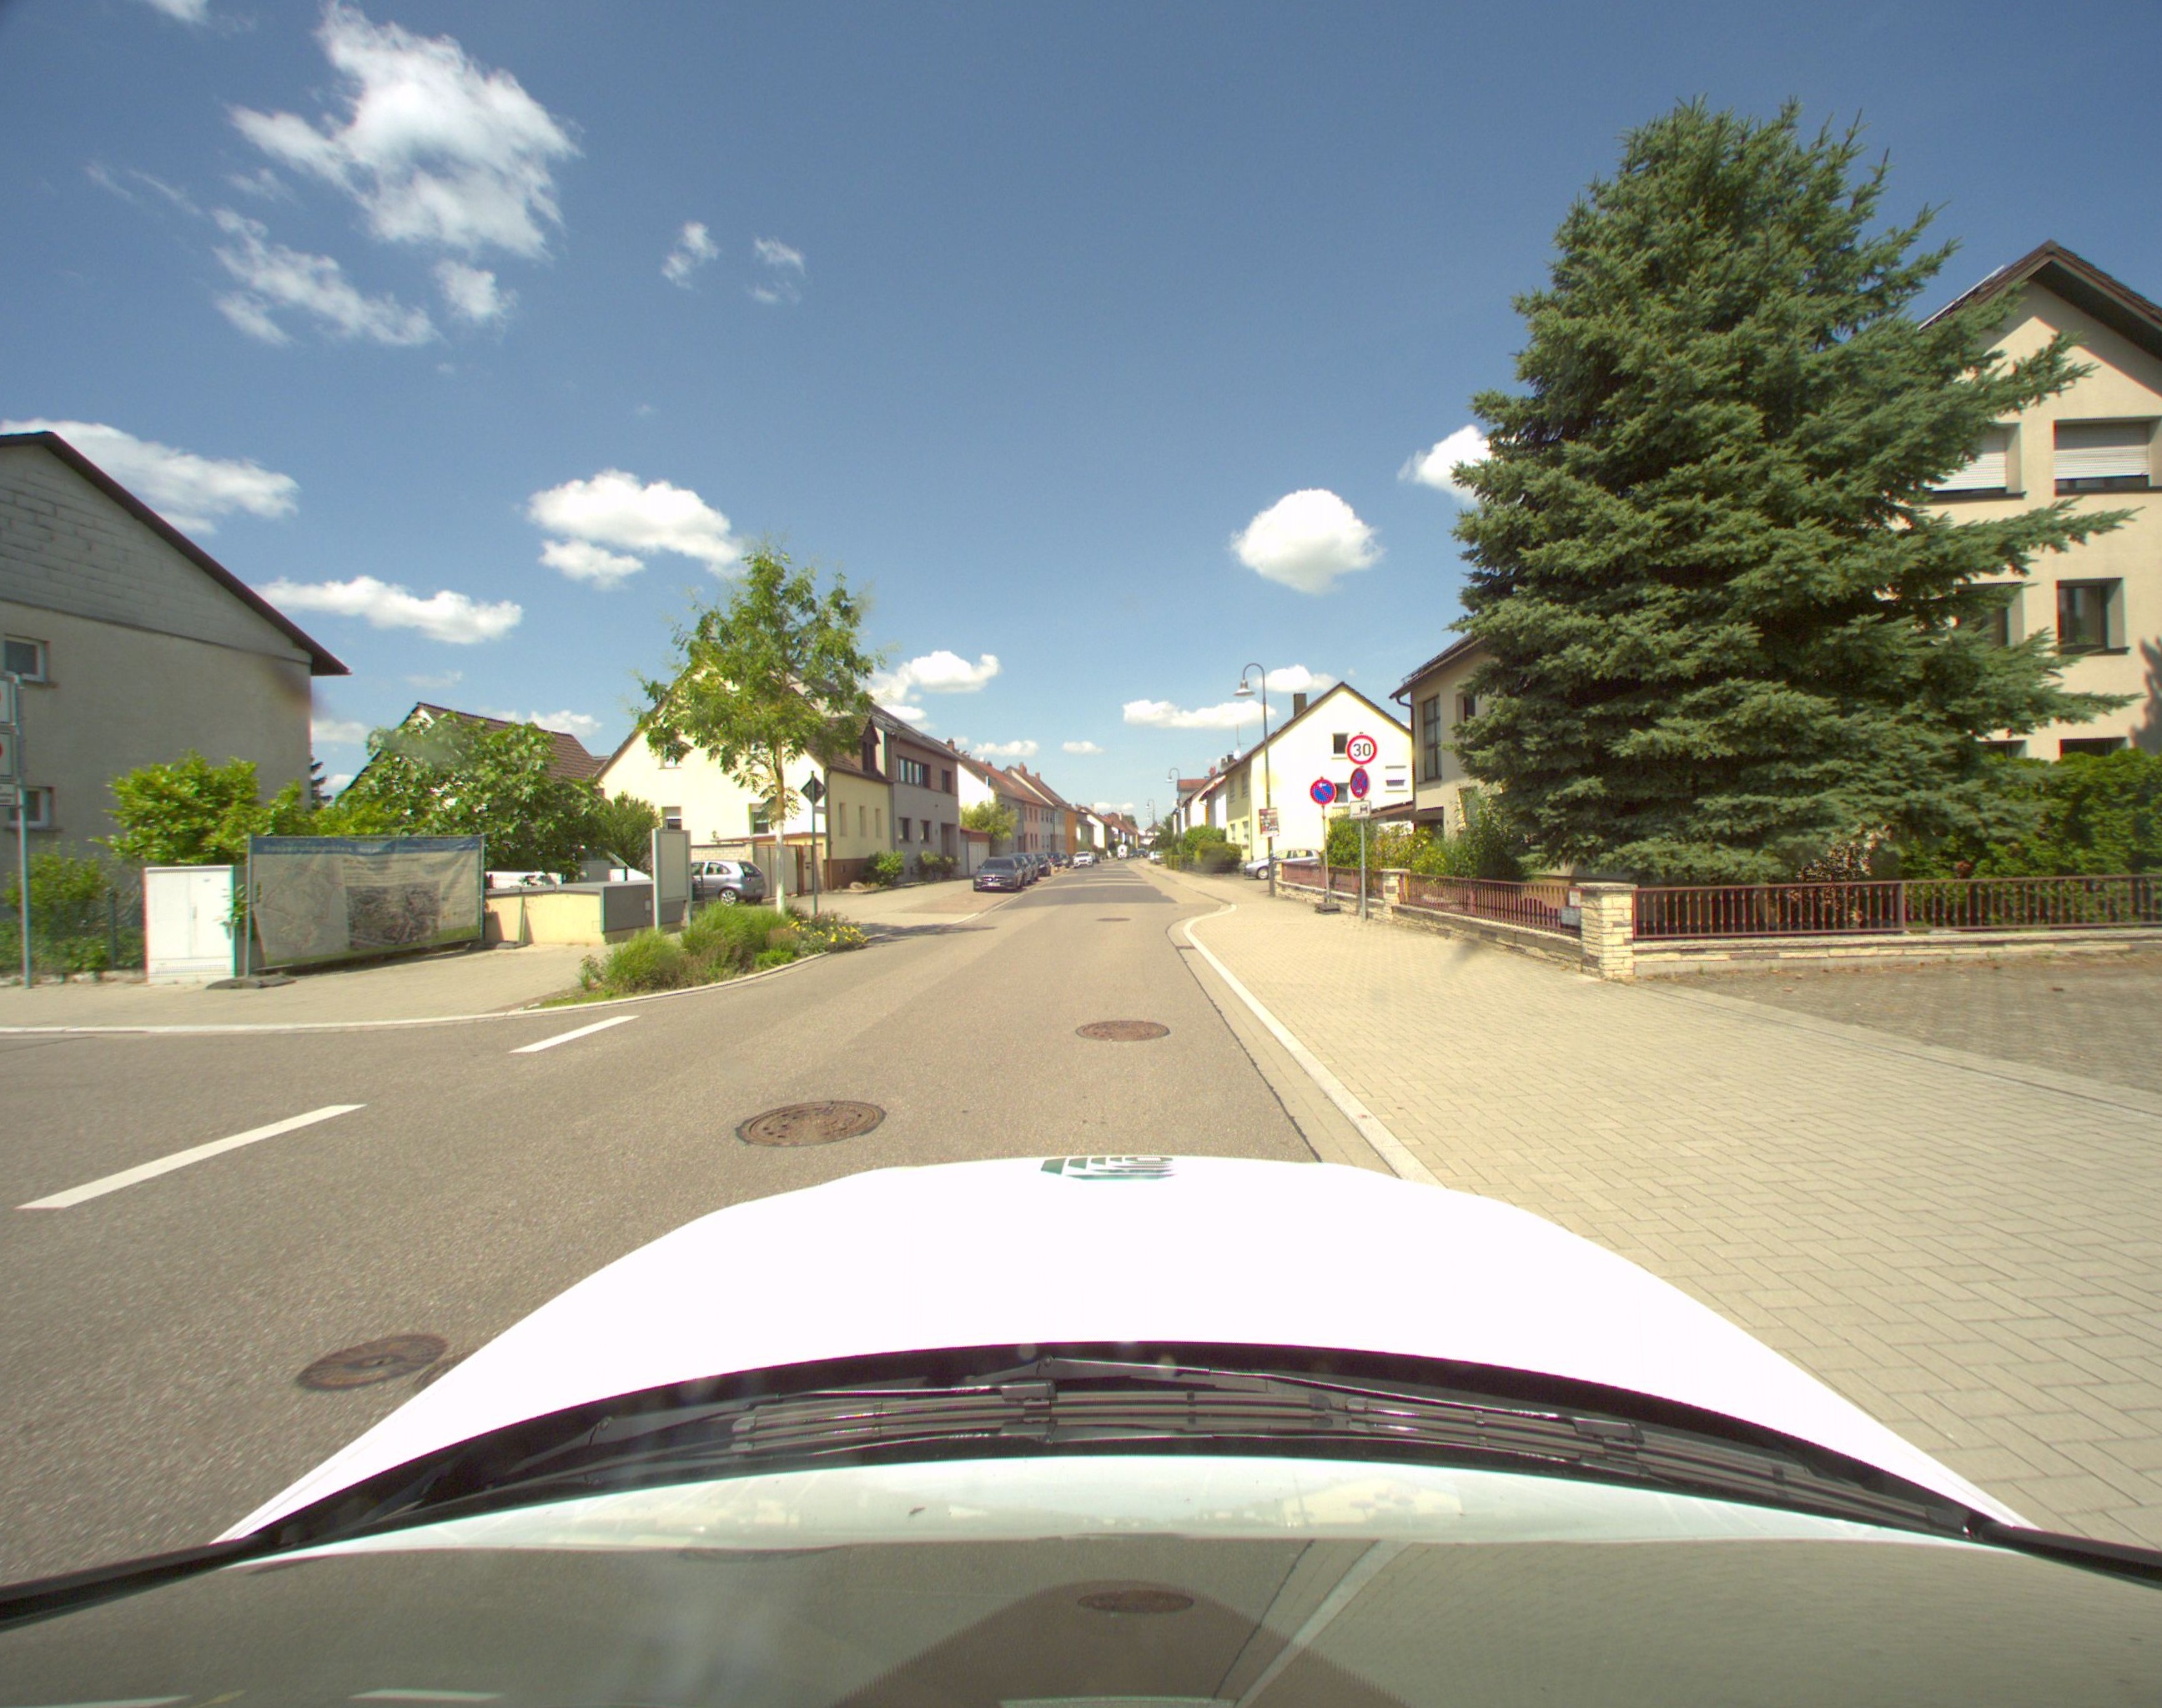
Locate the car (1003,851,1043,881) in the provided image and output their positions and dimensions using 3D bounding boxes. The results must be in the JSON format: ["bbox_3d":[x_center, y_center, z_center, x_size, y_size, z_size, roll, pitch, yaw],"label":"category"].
[{"bbox_3d":[-3.316,0.658,46.997,1.772,1.609,4.003,1,0,3],"label":"car"}]

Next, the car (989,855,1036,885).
[{"bbox_3d":[-3.403,0.771,41.320,1.808,1.433,4.143,1,0,3],"label":"car"}]

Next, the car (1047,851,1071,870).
[{"bbox_3d":[-1.914,0.573,71.445,1.803,1.609,4.003,1,0,3],"label":"car"}]

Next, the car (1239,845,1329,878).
[{"bbox_3d":[9.871,0.365,39.779,3.971,1.473,1.748,-2,0,2],"label":"car"}]

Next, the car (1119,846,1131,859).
[{"bbox_3d":[8.395,-0.234,154.183,2.034,2.312,3.778,0,-1,6],"label":"car"}]

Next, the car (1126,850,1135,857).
[{"bbox_3d":[10.714,-0.195,176.178,1.683,1.504,3.778,0,0,6],"label":"car"}]

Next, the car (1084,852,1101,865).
[{"bbox_3d":[1.481,0.565,105.533,1.841,1.659,4.006,1,0,5],"label":"car"}]

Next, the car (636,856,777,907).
[{"bbox_3d":[-11.484,0.809,25.106,3.506,1.471,1.795,0,0,6],"label":"car"}]

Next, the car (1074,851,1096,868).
[{"bbox_3d":[0.424,0.540,84.527,1.841,1.659,4.006,1,0,5],"label":"car"}]

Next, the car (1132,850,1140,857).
[{"bbox_3d":[12.396,-0.144,183.597,1.683,1.660,3.778,0,-1,6],"label":"car"}]

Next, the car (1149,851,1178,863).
[{"bbox_3d":[10.149,0.330,100.024,3.509,1.464,1.629,0,-1,3],"label":"car"}]

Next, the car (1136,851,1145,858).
[{"bbox_3d":[12.084,0.058,165.084,1.683,1.341,3.778,0,0,6],"label":"car"}]

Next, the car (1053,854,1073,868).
[{"bbox_3d":[-1.816,0.722,83.630,1.664,1.336,3.728,1,0,5],"label":"car"}]

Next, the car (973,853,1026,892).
[{"bbox_3d":[-3.500,0.766,35.689,1.810,1.433,4.139,2,1,0],"label":"car"}]

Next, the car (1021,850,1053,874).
[{"bbox_3d":[-3.032,0.557,56.684,1.772,1.609,4.003,1,0,3],"label":"car"}]

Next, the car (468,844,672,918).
[{"bbox_3d":[-12.999,0.646,20.893,3.969,1.800,2.002,0,0,3],"label":"car"}]
